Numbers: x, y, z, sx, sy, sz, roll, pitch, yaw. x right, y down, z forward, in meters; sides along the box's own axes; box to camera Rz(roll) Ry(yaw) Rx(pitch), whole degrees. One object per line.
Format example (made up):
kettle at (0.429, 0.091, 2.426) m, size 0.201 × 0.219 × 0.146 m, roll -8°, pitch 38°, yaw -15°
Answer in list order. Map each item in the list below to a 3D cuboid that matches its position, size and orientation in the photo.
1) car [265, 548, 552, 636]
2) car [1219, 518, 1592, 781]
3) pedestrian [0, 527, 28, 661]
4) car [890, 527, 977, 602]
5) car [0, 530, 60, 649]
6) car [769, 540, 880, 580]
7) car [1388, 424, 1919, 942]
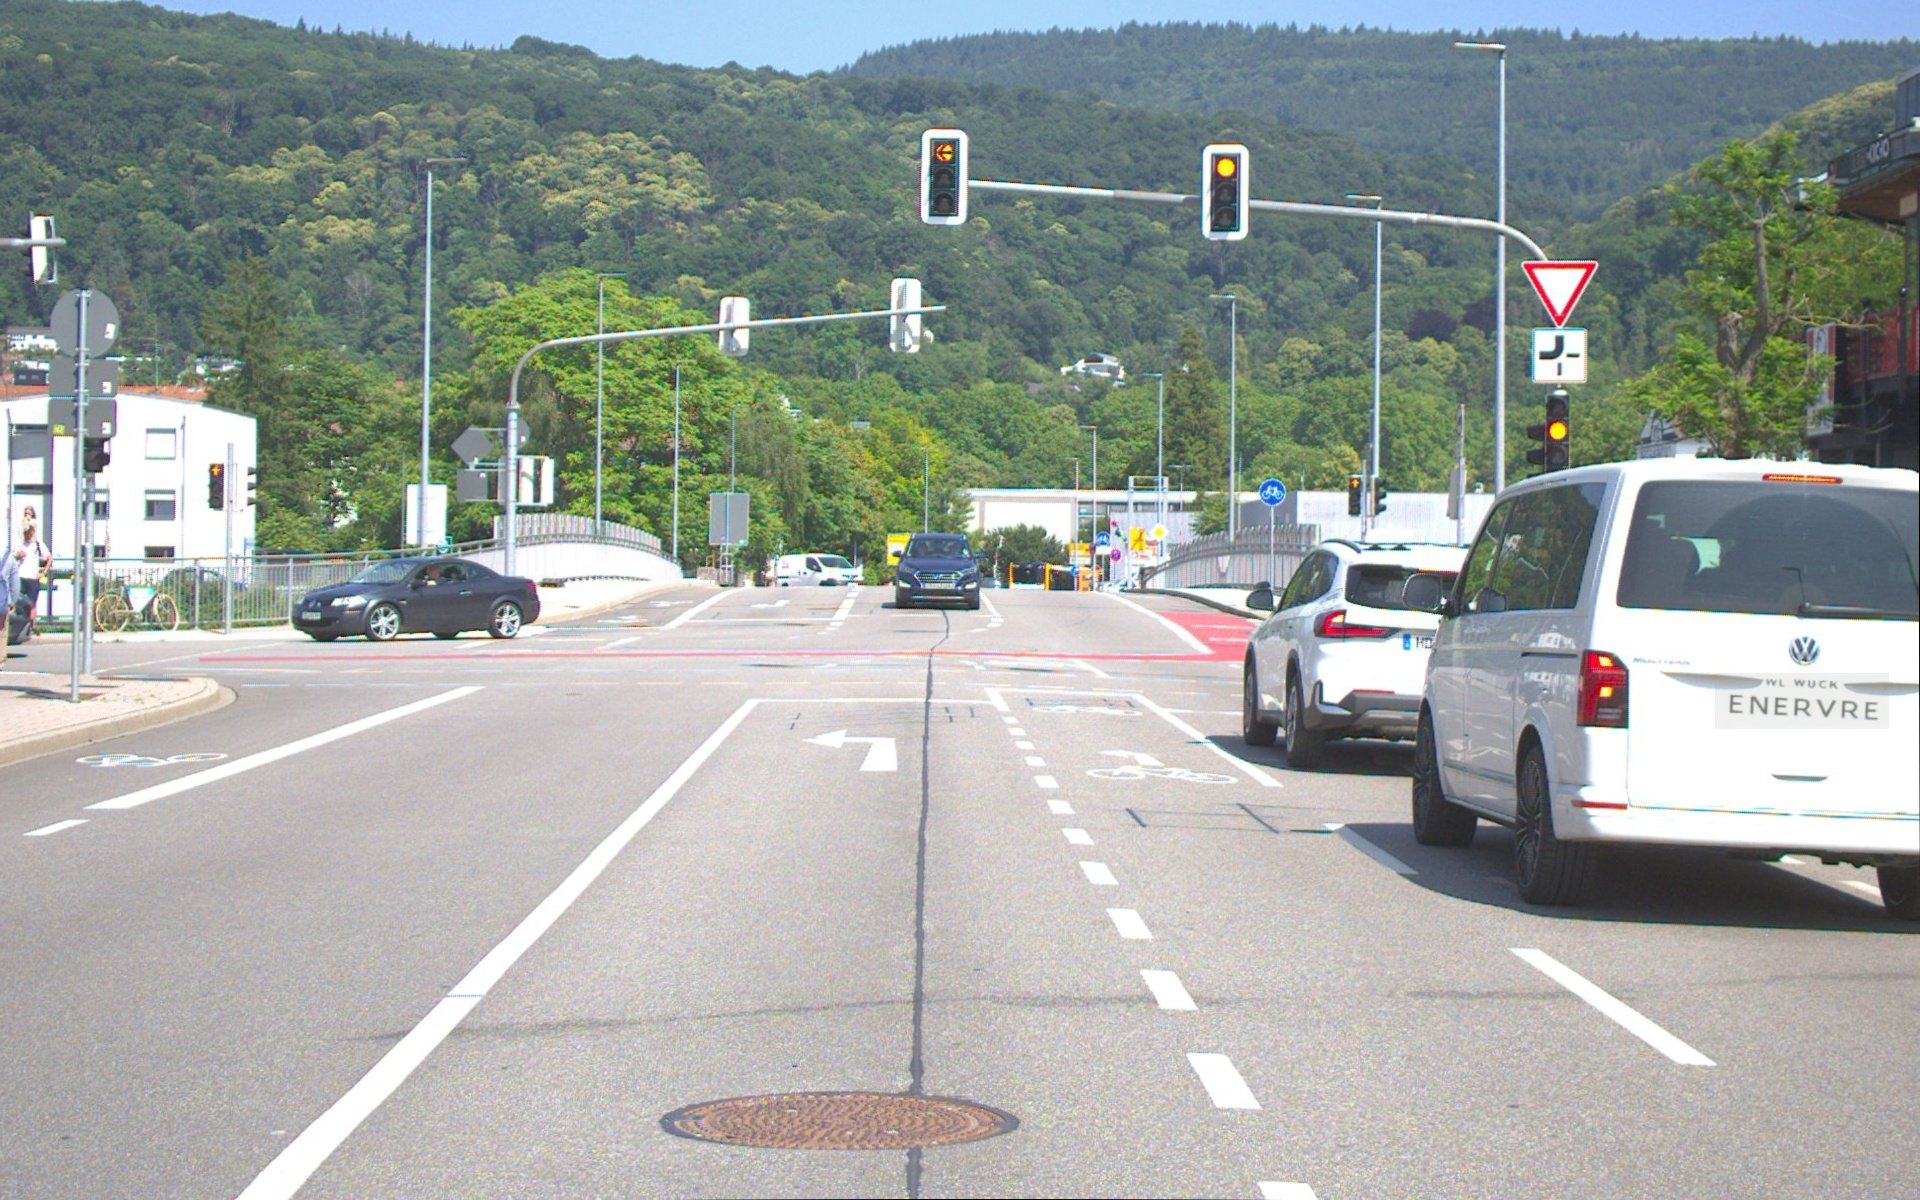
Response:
car at (-9.041, -0.163, 56.591) m, size 1.999 × 1.365 × 4.315 m, roll 2°, pitch 2°, yaw 44°
car at (3.170, 0.285, 25.409) m, size 1.934 × 1.681 × 4.545 m, roll 3°, pitch 1°, yaw -2°
pedestrian at (-11.438, -0.080, 40.610) m, size 0.698 × 1.568 × 0.676 m, roll 1°, pitch 1°, yaw -3°
car at (-0.587, -0.805, 75.866) m, size 1.849 × 1.583 × 4.000 m, roll 1°, pitch 1°, yaw 0°
car at (-14.445, -0.163, 46.563) m, size 4.314 × 1.587 × 2.001 m, roll 0°, pitch 1°, yaw -16°
car at (-5.504, -1.628, 139.309) m, size 4.458 × 1.583 × 1.851 m, roll 1°, pitch 1°, yaw 43°
car at (3.362, 0.286, 16.206) m, size 1.934 × 2.052 × 4.545 m, roll 2°, pitch 1°, yaw -2°
